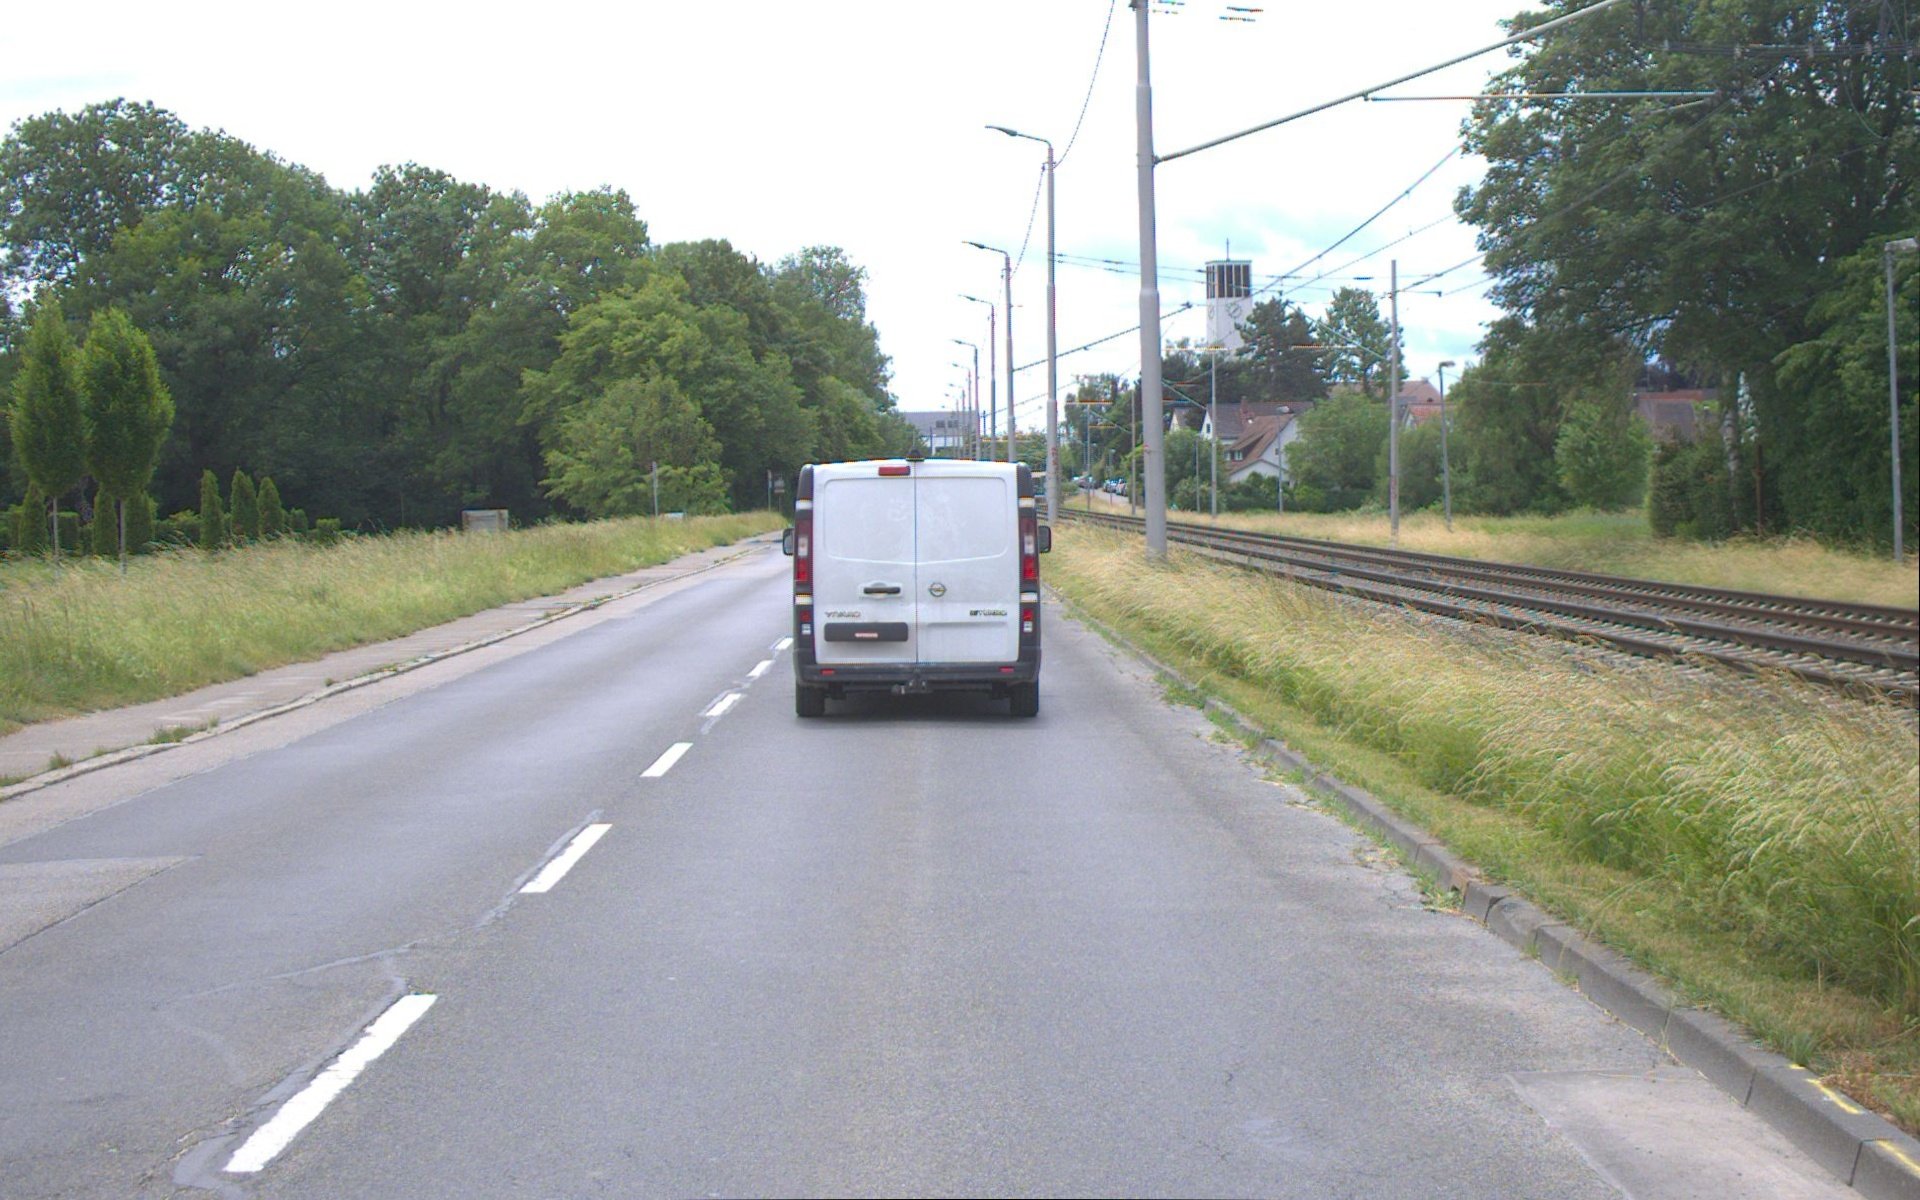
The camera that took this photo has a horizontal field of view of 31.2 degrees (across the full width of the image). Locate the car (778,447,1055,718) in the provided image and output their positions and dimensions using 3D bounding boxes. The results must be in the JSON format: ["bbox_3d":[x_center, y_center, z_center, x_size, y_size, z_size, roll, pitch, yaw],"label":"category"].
[{"bbox_3d":[-0.368,-0.177,26.916,1.993,1.950,4.001,0,1,-2],"label":"car"}]
